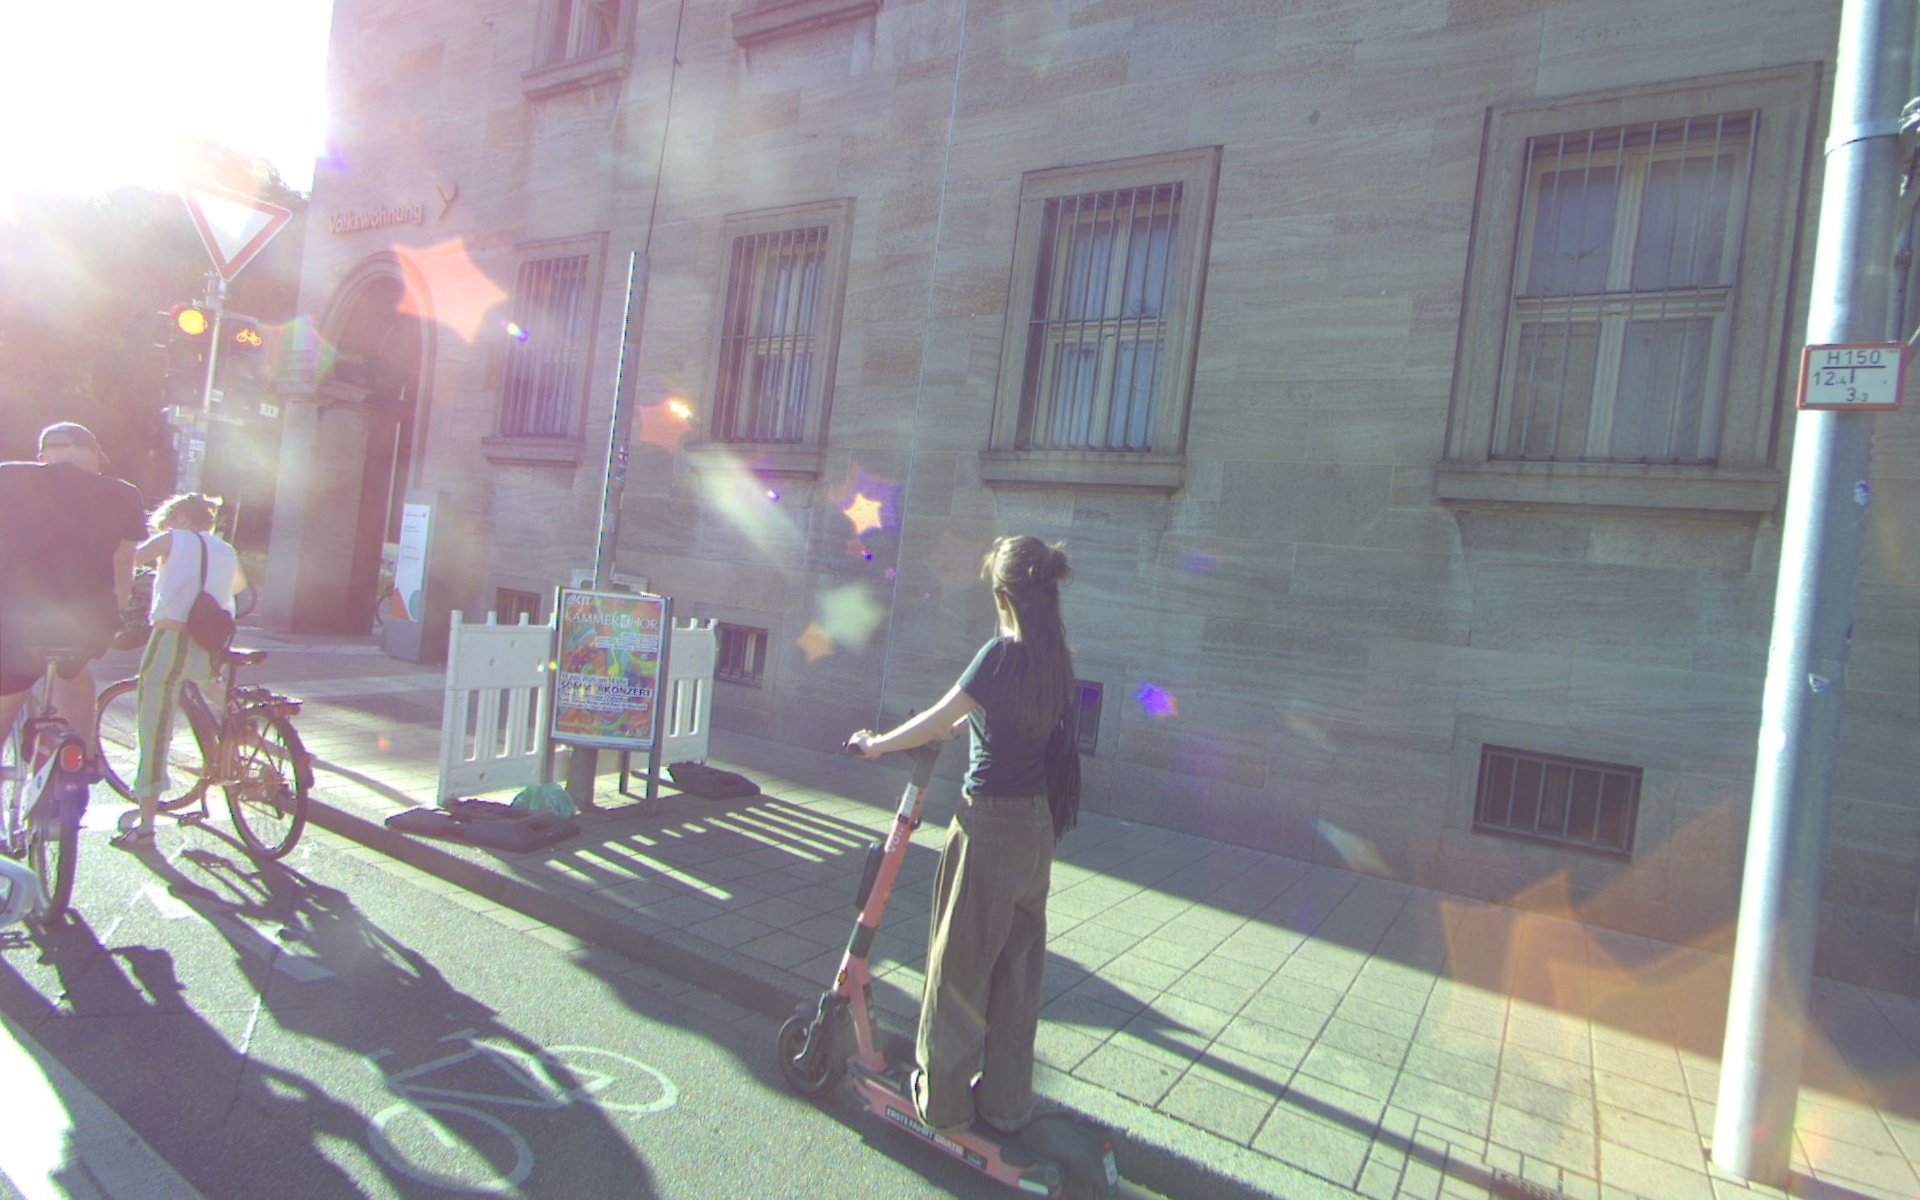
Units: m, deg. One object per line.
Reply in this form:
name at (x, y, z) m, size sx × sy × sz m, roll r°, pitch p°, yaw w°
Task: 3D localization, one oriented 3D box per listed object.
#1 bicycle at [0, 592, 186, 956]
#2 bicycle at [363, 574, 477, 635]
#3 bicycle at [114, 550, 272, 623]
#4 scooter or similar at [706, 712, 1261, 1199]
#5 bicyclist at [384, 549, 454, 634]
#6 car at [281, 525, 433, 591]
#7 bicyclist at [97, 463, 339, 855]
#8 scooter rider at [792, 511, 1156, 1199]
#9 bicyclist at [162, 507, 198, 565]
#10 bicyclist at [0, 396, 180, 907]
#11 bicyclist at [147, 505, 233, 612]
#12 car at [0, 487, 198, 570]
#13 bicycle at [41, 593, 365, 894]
bicycle at (-3.740, 0.573, 3.932) m, size 1.700 × 1.090 × 0.516 m, roll 7°, pitch -1°, yaw 34°
bicycle at (-10.048, 0.106, 18.779) m, size 0.634 × 0.946 × 1.747 m, roll 7°, pitch -1°, yaw 27°
bicycle at (-12.011, -0.187, 15.830) m, size 0.550 × 0.946 × 1.862 m, roll 7°, pitch -1°, yaw 27°
scooter or similar at (0.033, 1.012, 2.763) m, size 1.305 × 1.199 × 0.535 m, roll 7°, pitch 0°, yaw 31°
bicyclist at (-10.045, -0.151, 18.703) m, size 0.606 × 1.468 × 0.800 m, roll 7°, pitch 0°, yaw 27°
car at (-19.698, -1.335, 33.030) m, size 1.623 × 1.630 × 3.854 m, roll 7°, pitch -1°, yaw 31°
bicyclist at (-3.537, 0.265, 4.812) m, size 0.629 × 1.711 × 0.558 m, roll 7°, pitch -1°, yaw 30°
scooter rider at (0.071, 0.663, 2.818) m, size 0.547 × 1.691 × 0.730 m, roll 7°, pitch 0°, yaw 30°
bicyclist at (-24.123, -1.976, 31.118) m, size 0.499 × 1.704 × 0.643 m, roll 7°, pitch 0°, yaw 37°
bicyclist at (-3.551, 0.192, 3.862) m, size 0.541 × 1.820 × 0.559 m, roll 7°, pitch -1°, yaw 33°
bicyclist at (-12.029, -0.633, 15.723) m, size 0.596 × 1.542 × 0.764 m, roll 7°, pitch 0°, yaw 27°
car at (-23.375, -1.894, 27.203) m, size 1.622 × 1.630 × 3.999 m, roll 7°, pitch -1°, yaw 31°
bicycle at (-3.684, 0.620, 4.850) m, size 1.721 × 1.090 × 0.535 m, roll 7°, pitch -1°, yaw 31°
